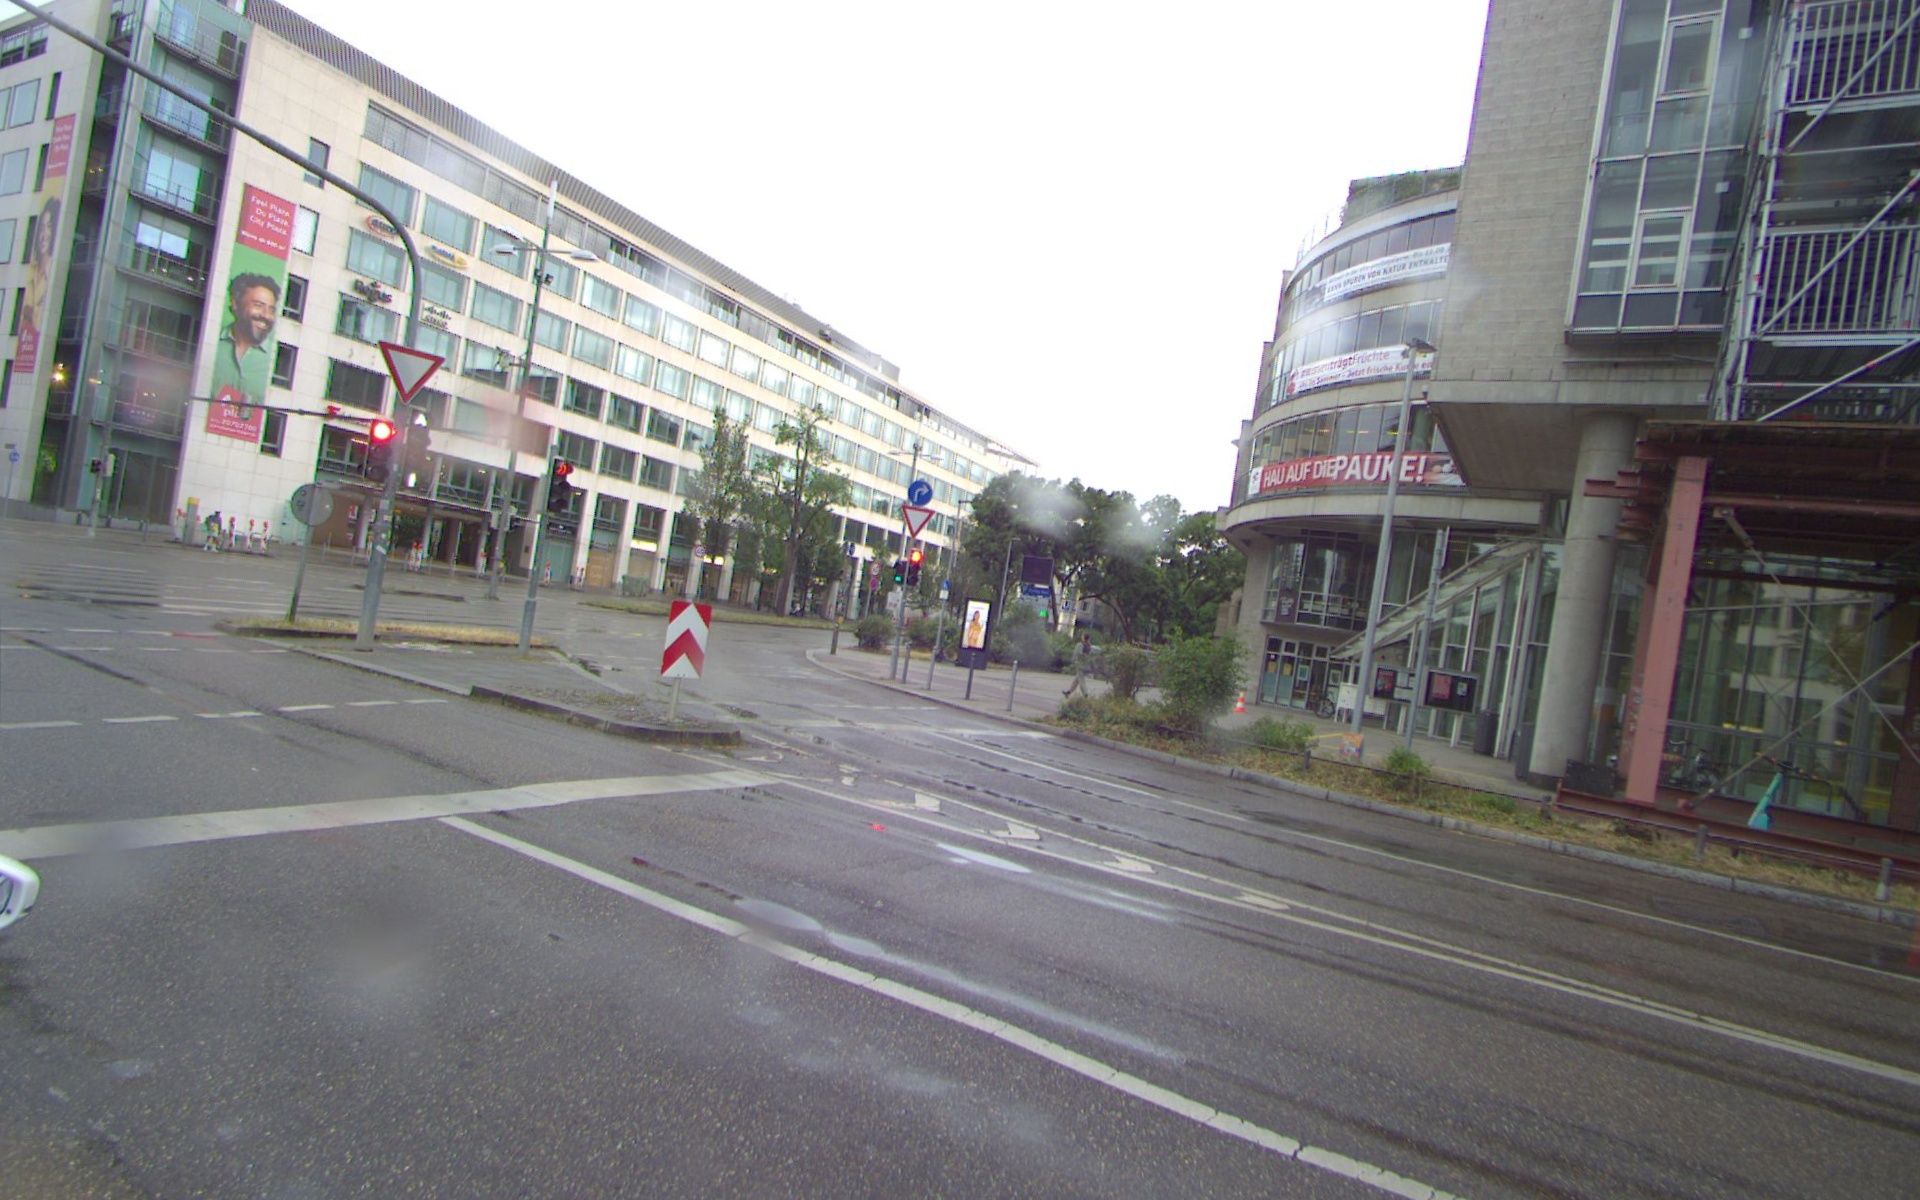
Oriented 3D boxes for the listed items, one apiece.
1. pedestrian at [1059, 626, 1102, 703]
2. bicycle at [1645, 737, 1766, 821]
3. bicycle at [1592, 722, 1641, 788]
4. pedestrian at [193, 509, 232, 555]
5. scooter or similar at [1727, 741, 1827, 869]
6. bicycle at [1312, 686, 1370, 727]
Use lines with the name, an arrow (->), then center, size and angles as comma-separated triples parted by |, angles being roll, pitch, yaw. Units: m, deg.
pedestrian -> 2.997, 1.588, 24.882 | 0.776, 1.796, 0.781 | 7, -1, 13
bicycle -> 13.486, 3.227, 18.223 | 1.584, 1.208, 0.587 | 7, -1, 6
bicycle -> 13.628, 3.187, 20.915 | 0.576, 1.208, 1.614 | 7, -2, 27
pedestrian -> -32.202, -2.925, 43.342 | 0.822, 1.838, 0.963 | 6, -1, 31
scooter or similar -> 9.223, 2.271, 11.412 | 0.577, 1.208, 1.780 | 7, -1, 34
bicycle -> 13.455, 3.749, 35.525 | 1.753, 1.208, 0.586 | 6, -1, 29
